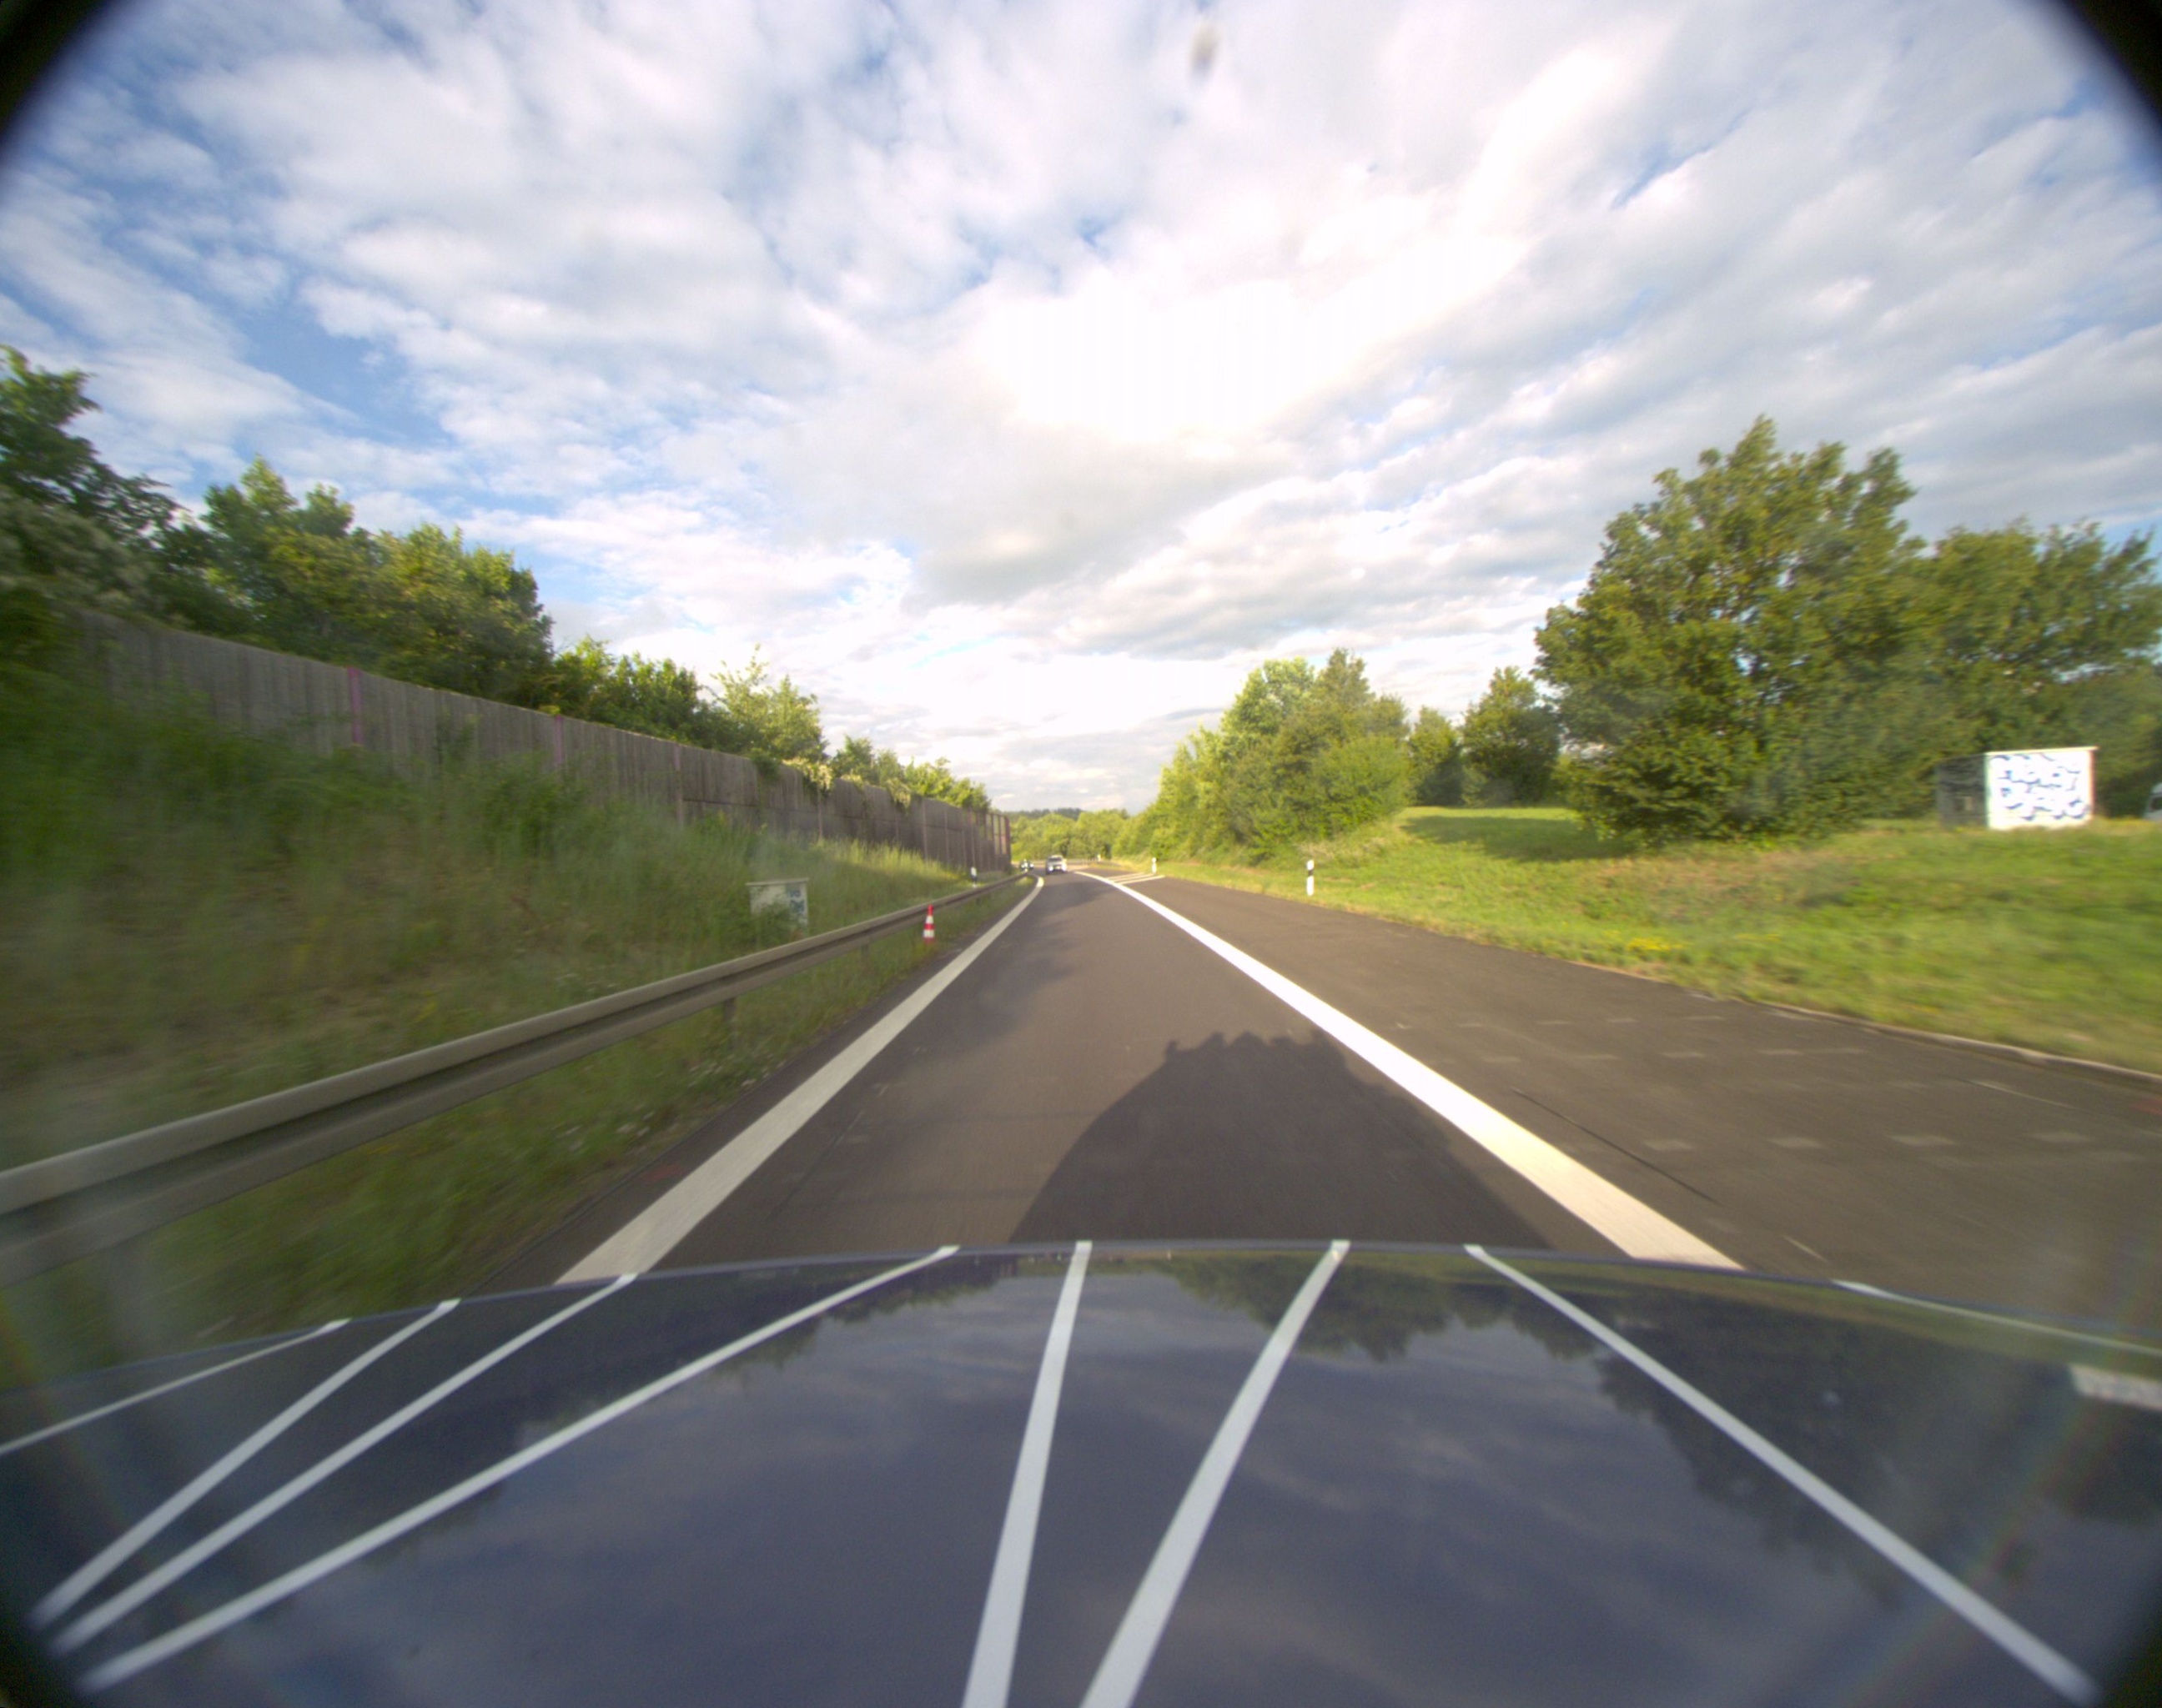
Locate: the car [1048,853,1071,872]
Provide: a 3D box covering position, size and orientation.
[{"bbox_3d":[-2.122,0.825,74.141,1.906,1.655,3.998,-3,0,-5],"label":"car"}]

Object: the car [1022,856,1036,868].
[{"bbox_3d":[-7.922,1.146,115.210,1.808,1.707,3.998,-2,0,-7],"label":"car"}]

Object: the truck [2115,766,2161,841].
[{"bbox_3d":[57.064,-2.638,37.732,2.948,3.865,7.093,-2,1,15],"label":"truck"}]

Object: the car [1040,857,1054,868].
[{"bbox_3d":[-5.044,1.216,112.409,1.620,1.452,3.660,-5,2,-6],"label":"car"}]
